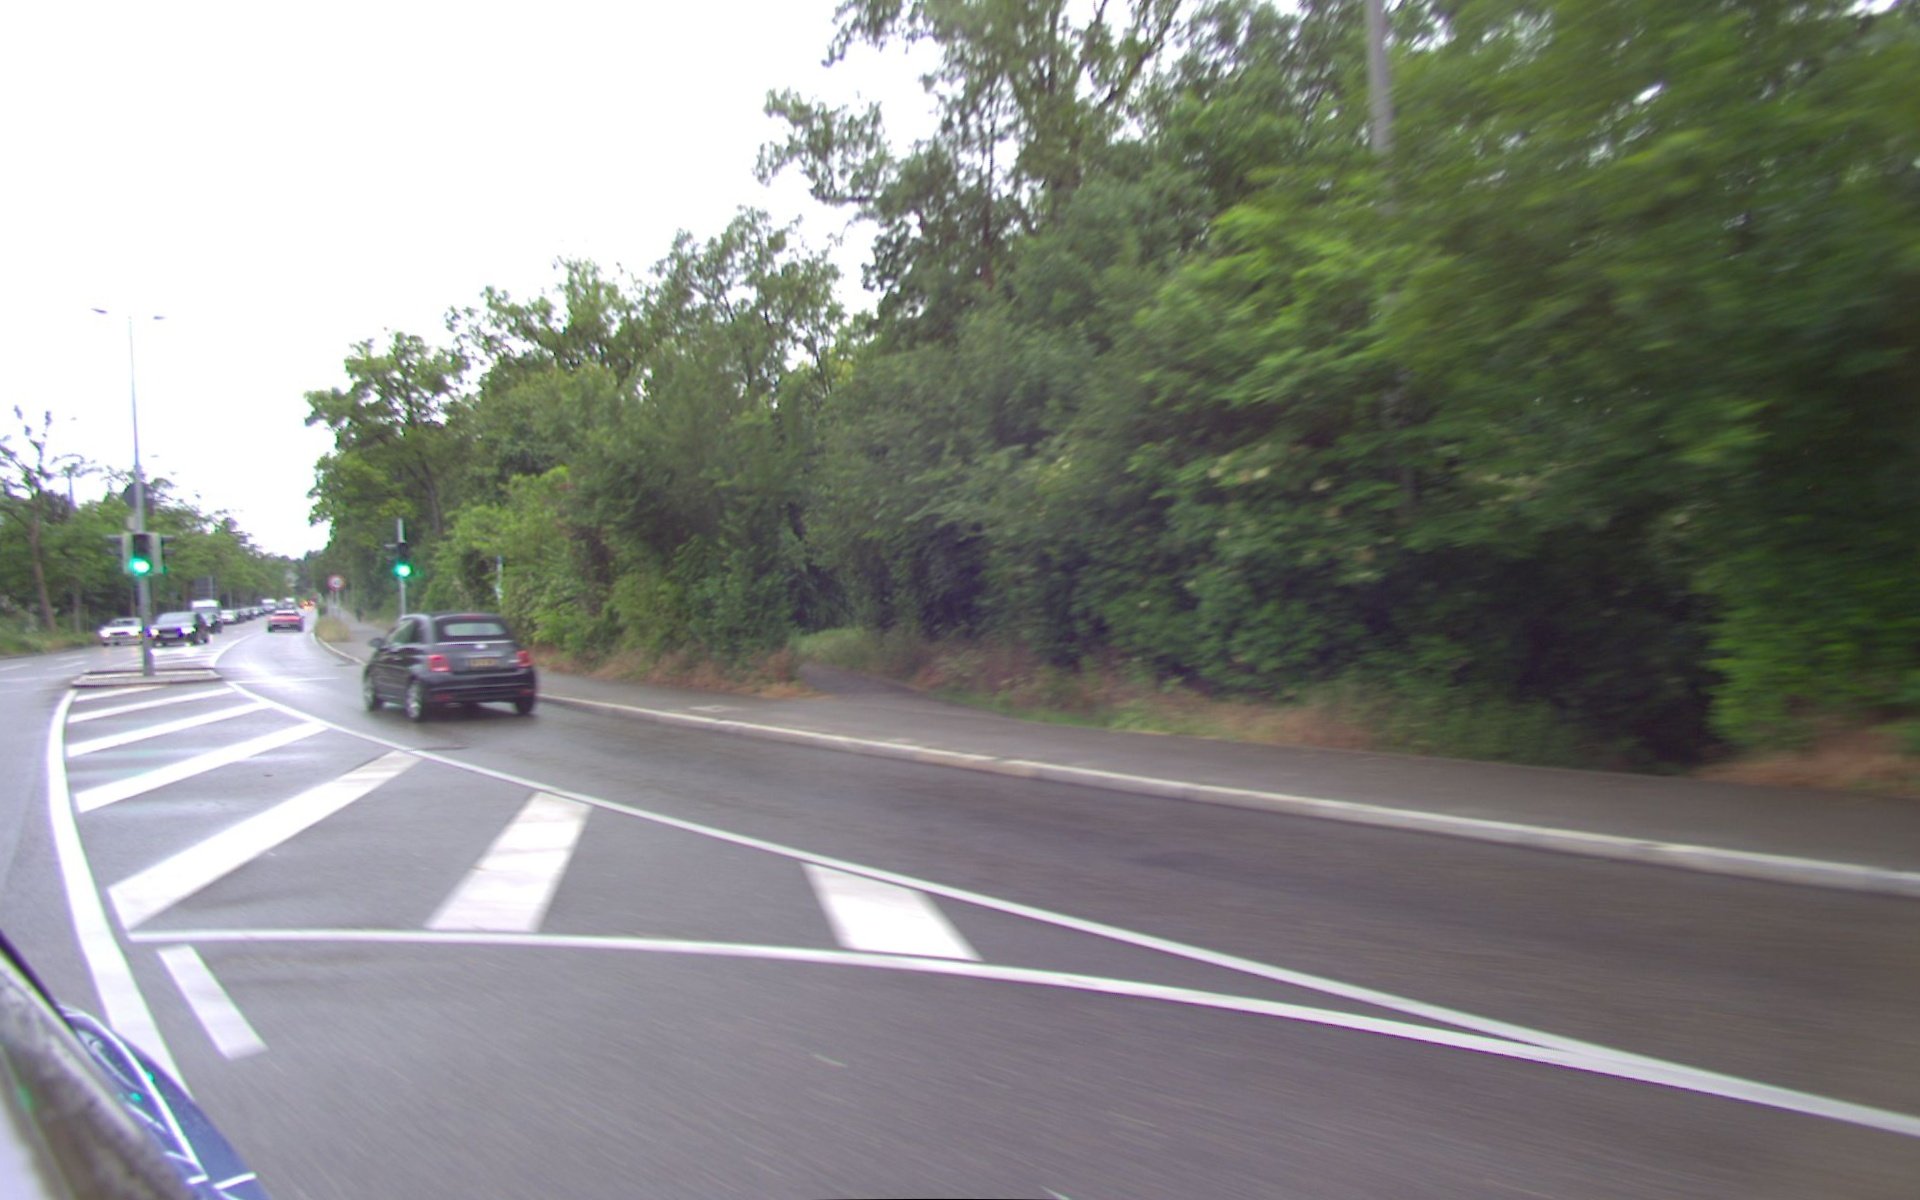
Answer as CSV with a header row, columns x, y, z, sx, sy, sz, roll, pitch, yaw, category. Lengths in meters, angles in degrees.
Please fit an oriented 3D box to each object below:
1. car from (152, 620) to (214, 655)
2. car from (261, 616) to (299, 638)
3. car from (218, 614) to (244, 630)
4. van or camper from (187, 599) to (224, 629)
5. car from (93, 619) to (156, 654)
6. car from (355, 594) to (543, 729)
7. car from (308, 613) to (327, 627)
x,y,z,sx,sy,sz,roll,pitch,yaw,category
-34.514,1.628,45.046,1.914,1.466,4.616,-1,-1,-34,car
-45.606,1.761,67.839,1.914,1.386,4.615,-1,-1,-36,car
-75.591,2.292,104.997,1.914,1.615,4.616,-1,-1,-33,car
-65.246,1.217,87.570,1.966,2.471,4.736,-2,1,-31,van or camper
-41.229,1.753,50.032,1.914,1.615,4.616,-1,-1,-33,car
-7.643,0.831,14.978,1.557,1.744,3.779,0,-1,-42,car
-78.566,2.458,123.746,1.914,1.615,4.616,-1,-1,-33,car
